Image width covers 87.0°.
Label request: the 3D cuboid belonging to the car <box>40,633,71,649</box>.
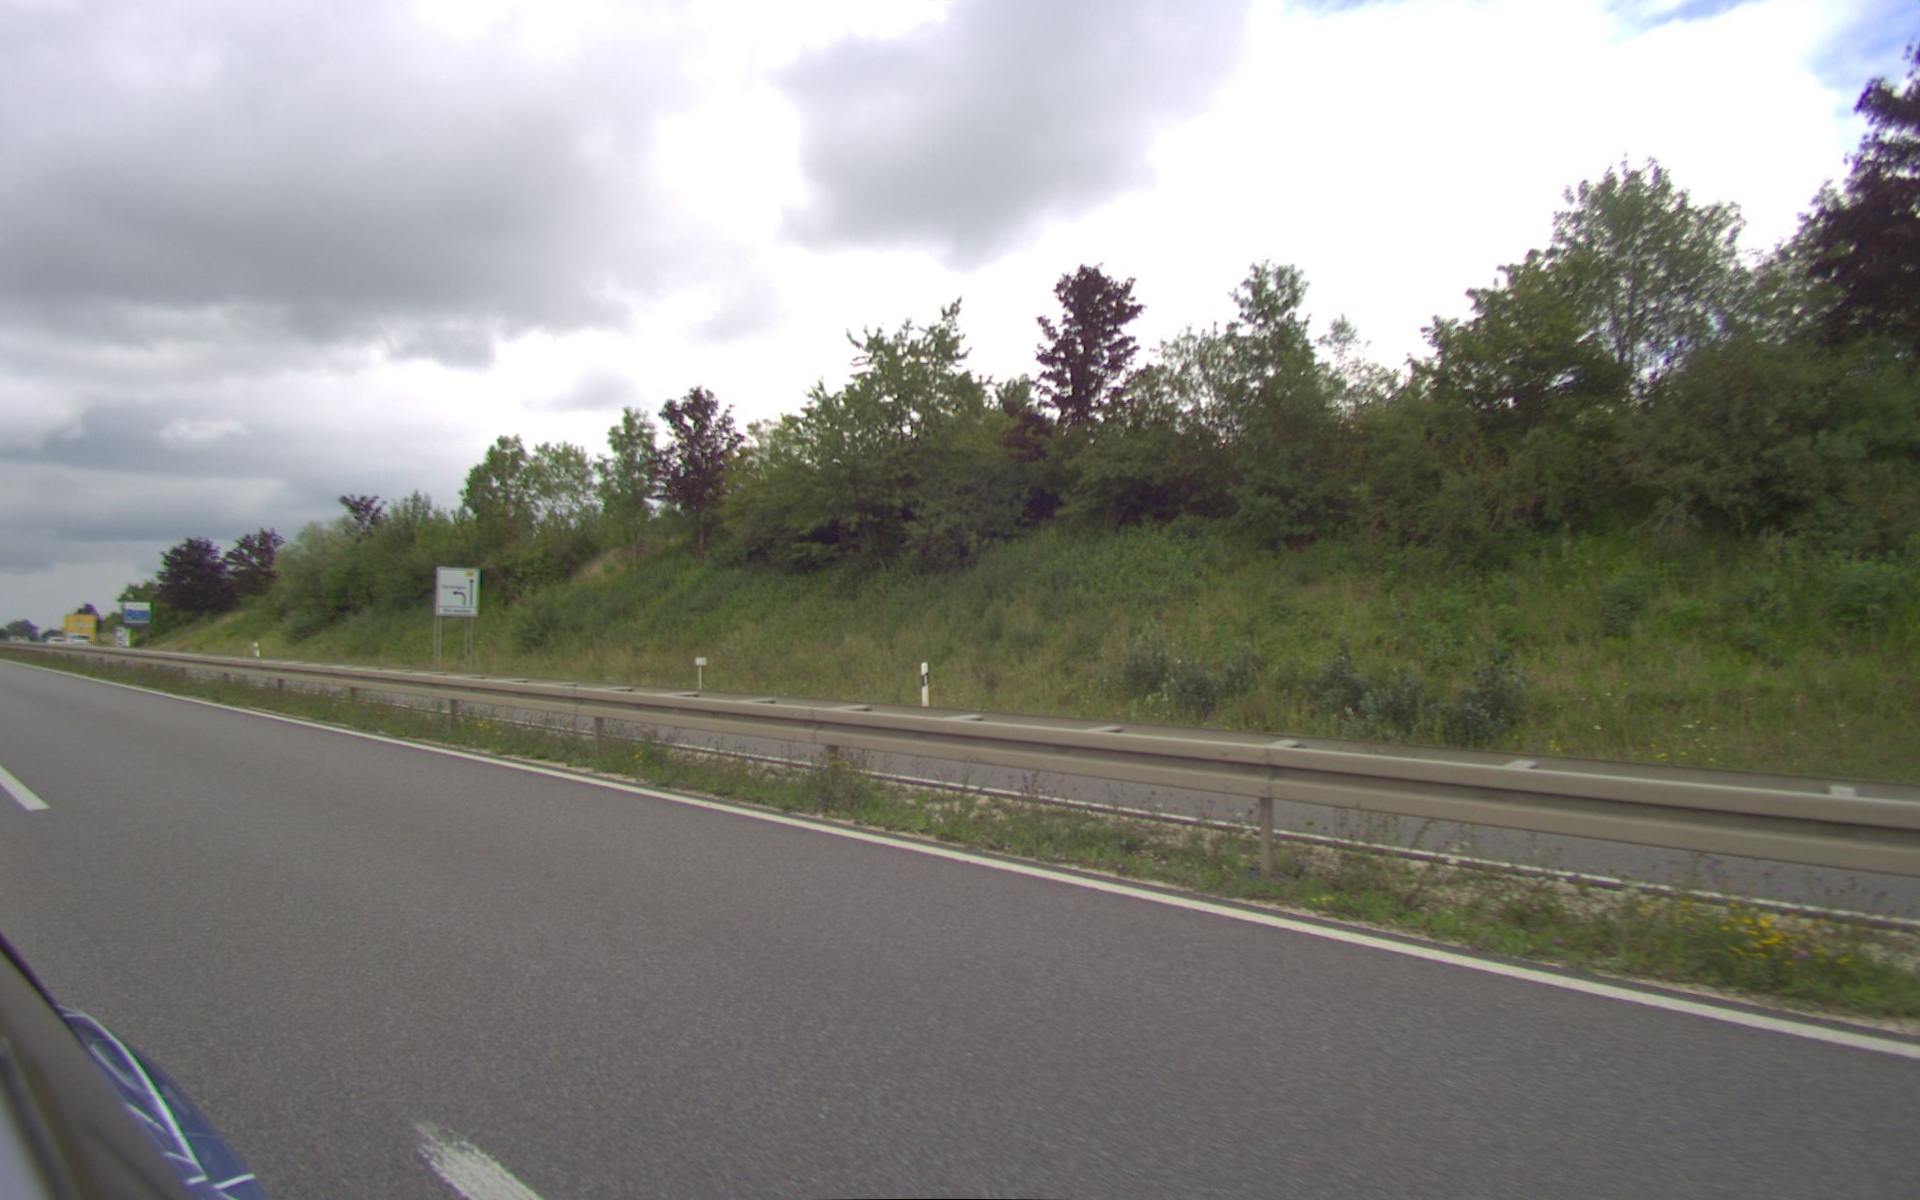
[{"bbox_3d":[-96.034,4.394,107.475,4.987,1.529,1.972,-4,-4,43],"label":"car"}]

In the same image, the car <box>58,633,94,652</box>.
[{"bbox_3d":[-79.239,3.837,90.688,4.461,1.529,1.900,-4,-4,42],"label":"car"}]
